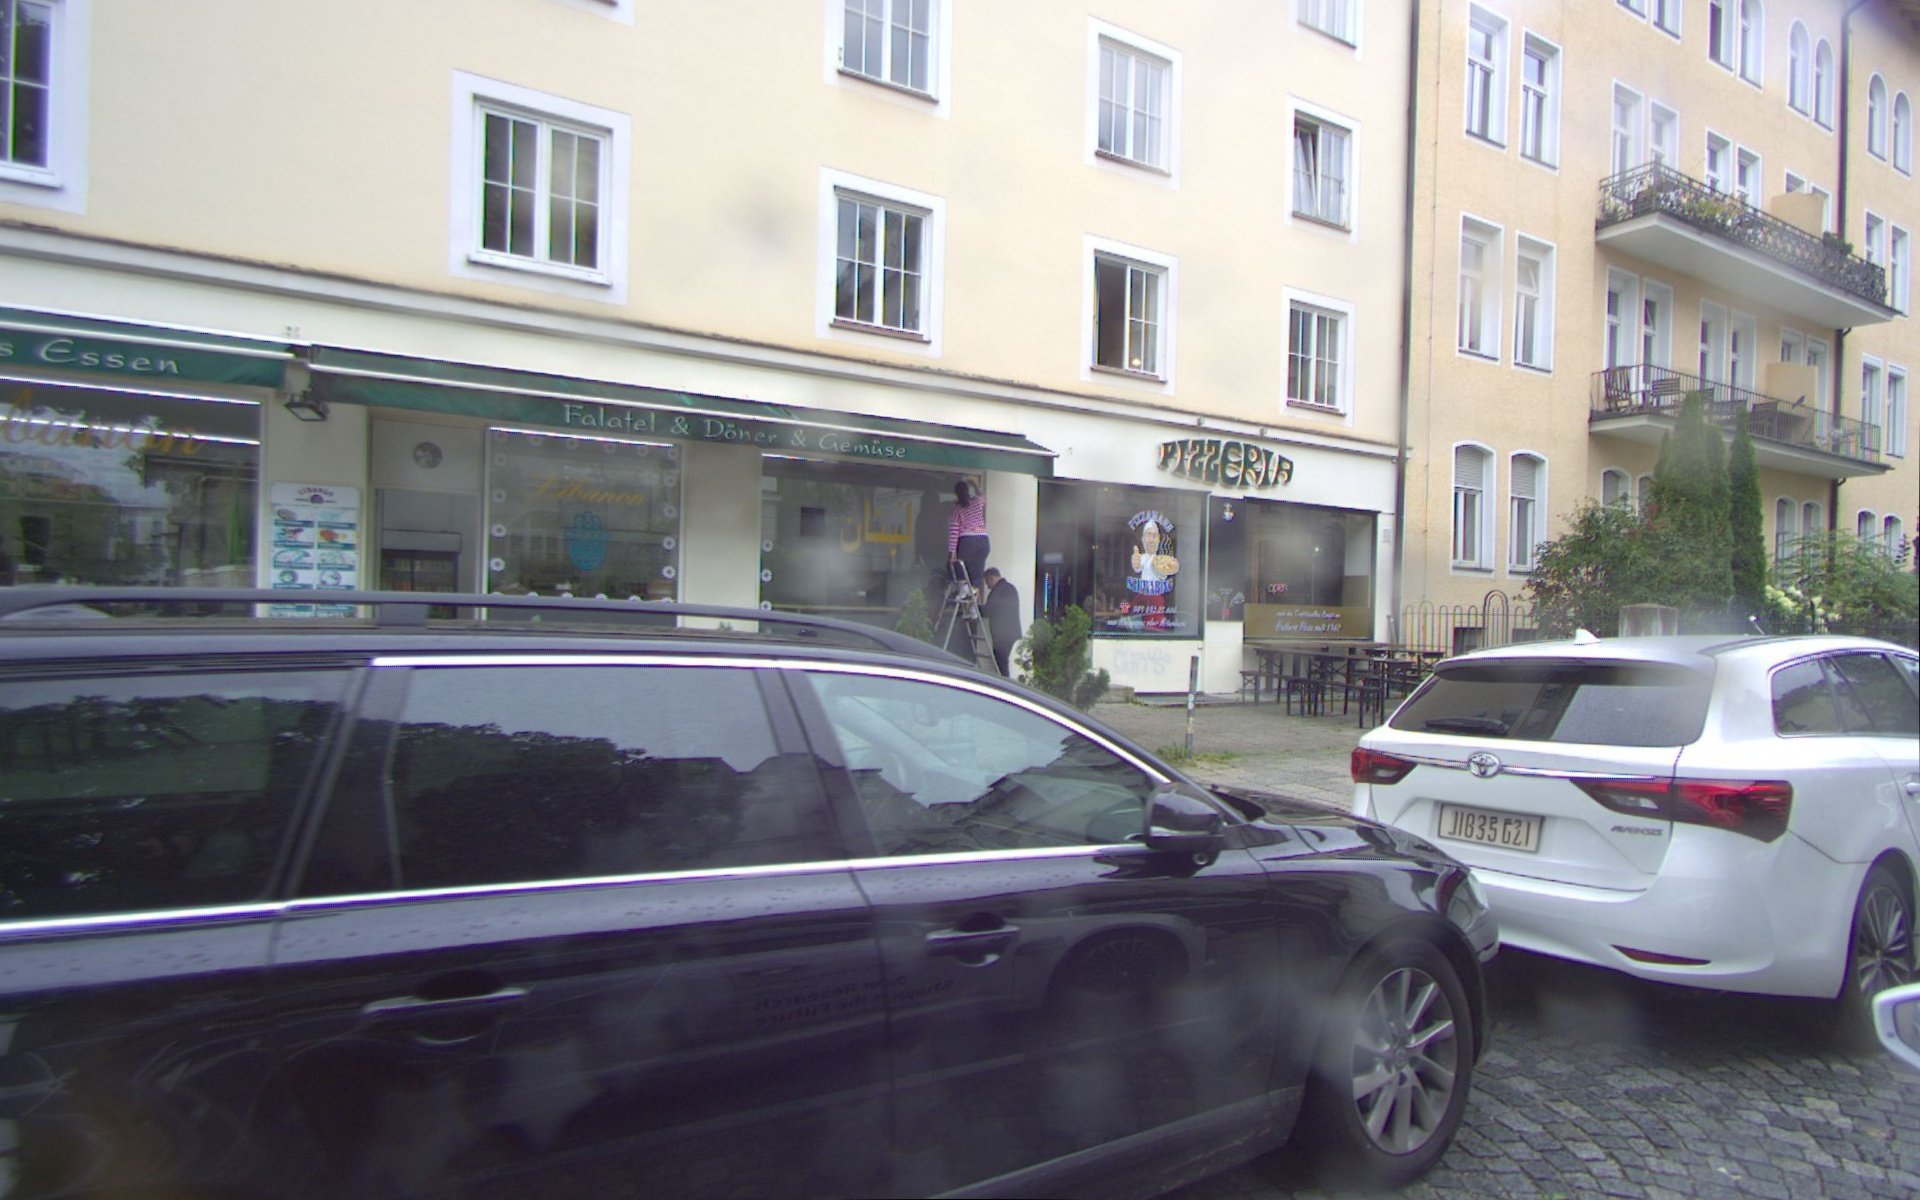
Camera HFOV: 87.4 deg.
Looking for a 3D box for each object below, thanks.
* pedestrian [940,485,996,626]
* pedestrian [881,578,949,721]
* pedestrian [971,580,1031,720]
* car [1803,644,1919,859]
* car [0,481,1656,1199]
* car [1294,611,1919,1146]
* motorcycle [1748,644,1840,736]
[{"bbox_3d":[0.090,-0.522,12.229,0.490,1.664,0.476,1,0,-25],"label":"pedestrian"},{"bbox_3d":[-0.544,0.580,12.074,0.622,1.664,0.519,1,0,-30],"label":"pedestrian"},{"bbox_3d":[0.518,0.616,12.633,0.567,1.712,0.459,1,0,-29],"label":"pedestrian"},{"bbox_3d":[8.231,1.058,7.469,4.342,1.377,1.764,2,-1,-32],"label":"car"},{"bbox_3d":[-0.250,0.704,2.787,4.694,1.607,1.842,2,-1,-31],"label":"car"},{"bbox_3d":[3.885,0.926,4.857,4.487,1.556,1.766,2,-4,-30],"label":"car"},{"bbox_3d":[11.667,1.228,14.037,1.561,1.210,0.488,1,0,-30],"label":"motorcycle"}]
